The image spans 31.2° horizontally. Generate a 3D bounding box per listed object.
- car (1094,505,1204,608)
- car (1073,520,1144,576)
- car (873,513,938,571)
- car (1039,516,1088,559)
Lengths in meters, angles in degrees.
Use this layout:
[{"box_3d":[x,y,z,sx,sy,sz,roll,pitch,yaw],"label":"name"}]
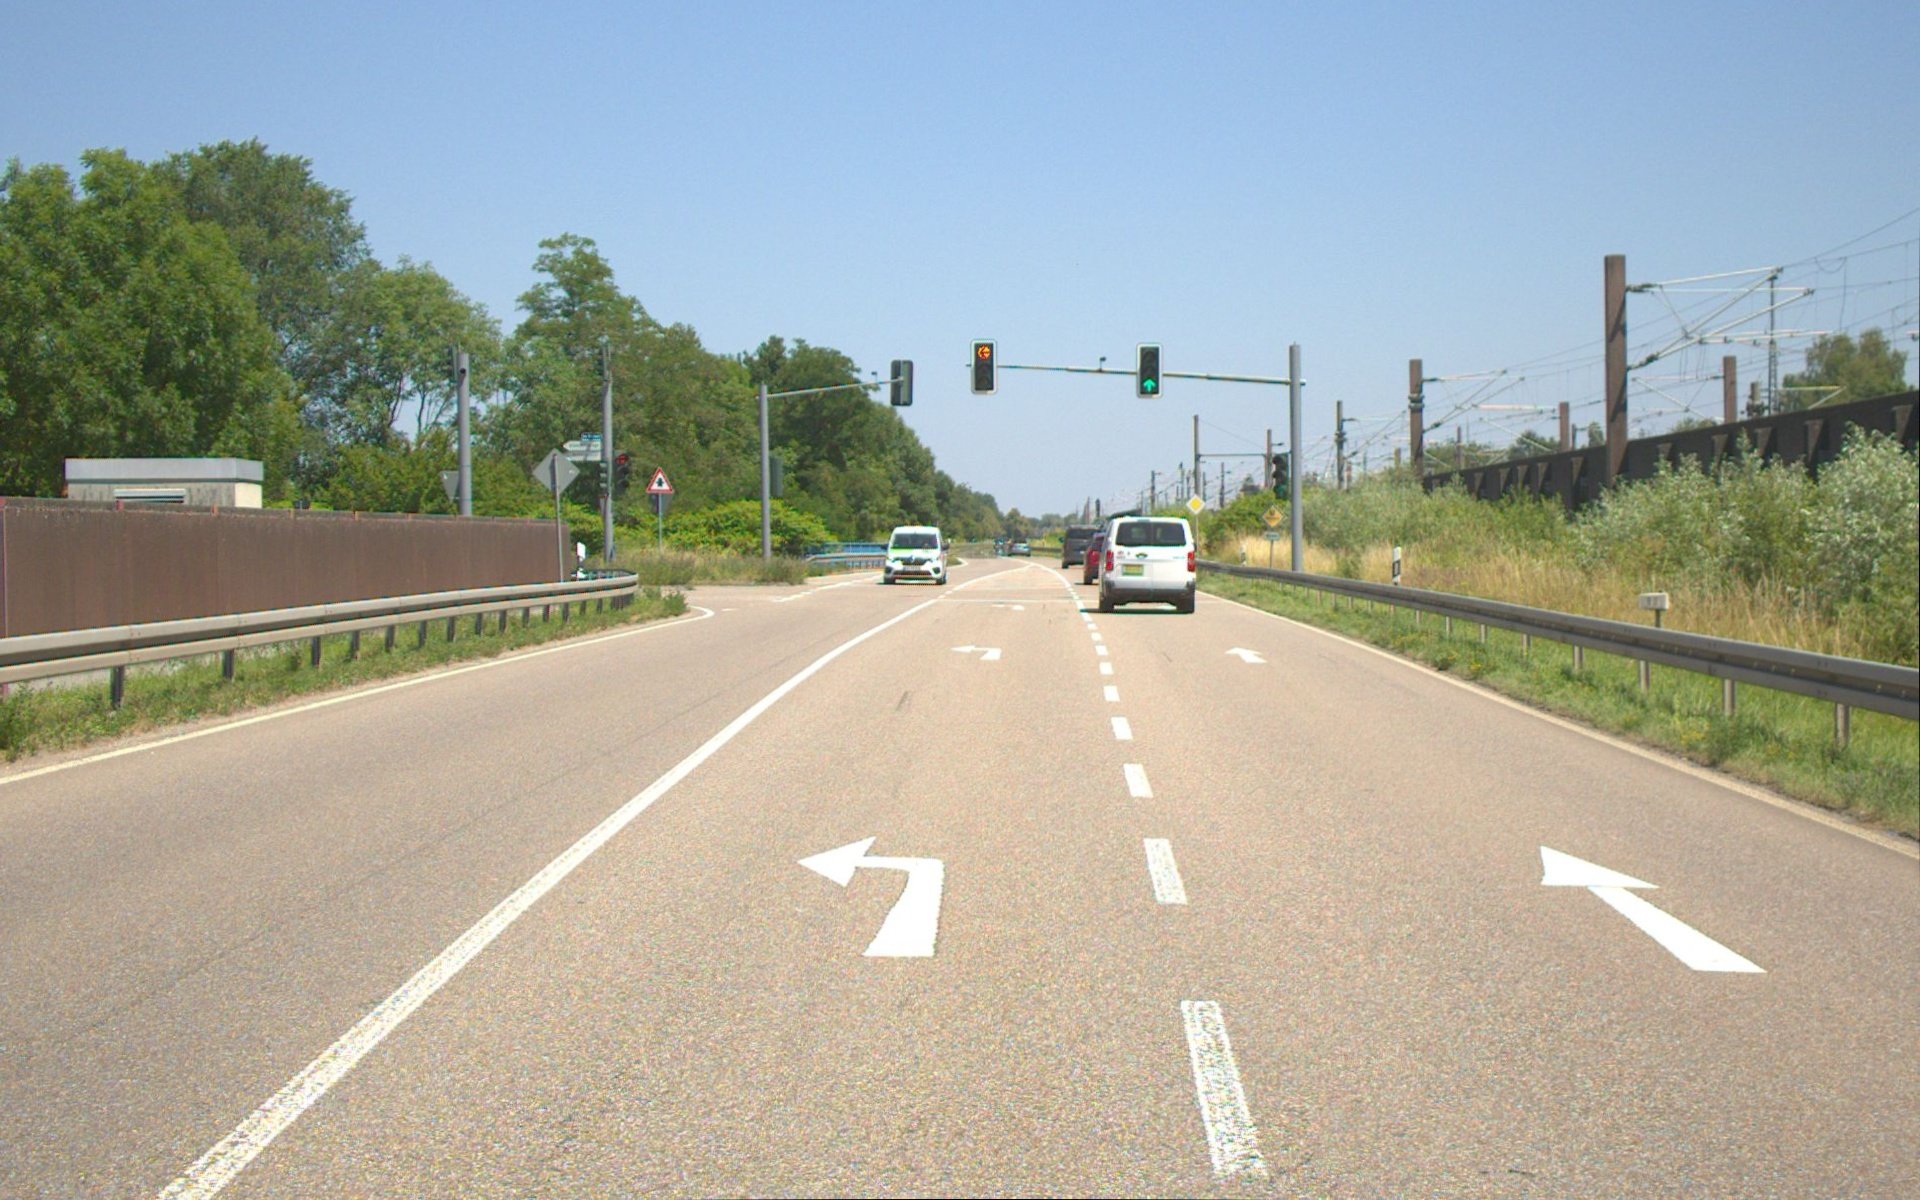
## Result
[{"box_3d":[3.794,-0.909,69.743,1.993,1.977,4.060,1,1,0],"label":"car"},{"box_3d":[4.684,-1.667,109.221,2.019,1.720,4.543,1,1,0],"label":"car"},{"box_3d":[-1.712,-1.822,106.672,1.887,1.734,4.777,1,1,-3],"label":"car"},{"box_3d":[4.893,-2.952,162.512,2.155,1.961,4.543,1,1,0],"label":"car"}]
